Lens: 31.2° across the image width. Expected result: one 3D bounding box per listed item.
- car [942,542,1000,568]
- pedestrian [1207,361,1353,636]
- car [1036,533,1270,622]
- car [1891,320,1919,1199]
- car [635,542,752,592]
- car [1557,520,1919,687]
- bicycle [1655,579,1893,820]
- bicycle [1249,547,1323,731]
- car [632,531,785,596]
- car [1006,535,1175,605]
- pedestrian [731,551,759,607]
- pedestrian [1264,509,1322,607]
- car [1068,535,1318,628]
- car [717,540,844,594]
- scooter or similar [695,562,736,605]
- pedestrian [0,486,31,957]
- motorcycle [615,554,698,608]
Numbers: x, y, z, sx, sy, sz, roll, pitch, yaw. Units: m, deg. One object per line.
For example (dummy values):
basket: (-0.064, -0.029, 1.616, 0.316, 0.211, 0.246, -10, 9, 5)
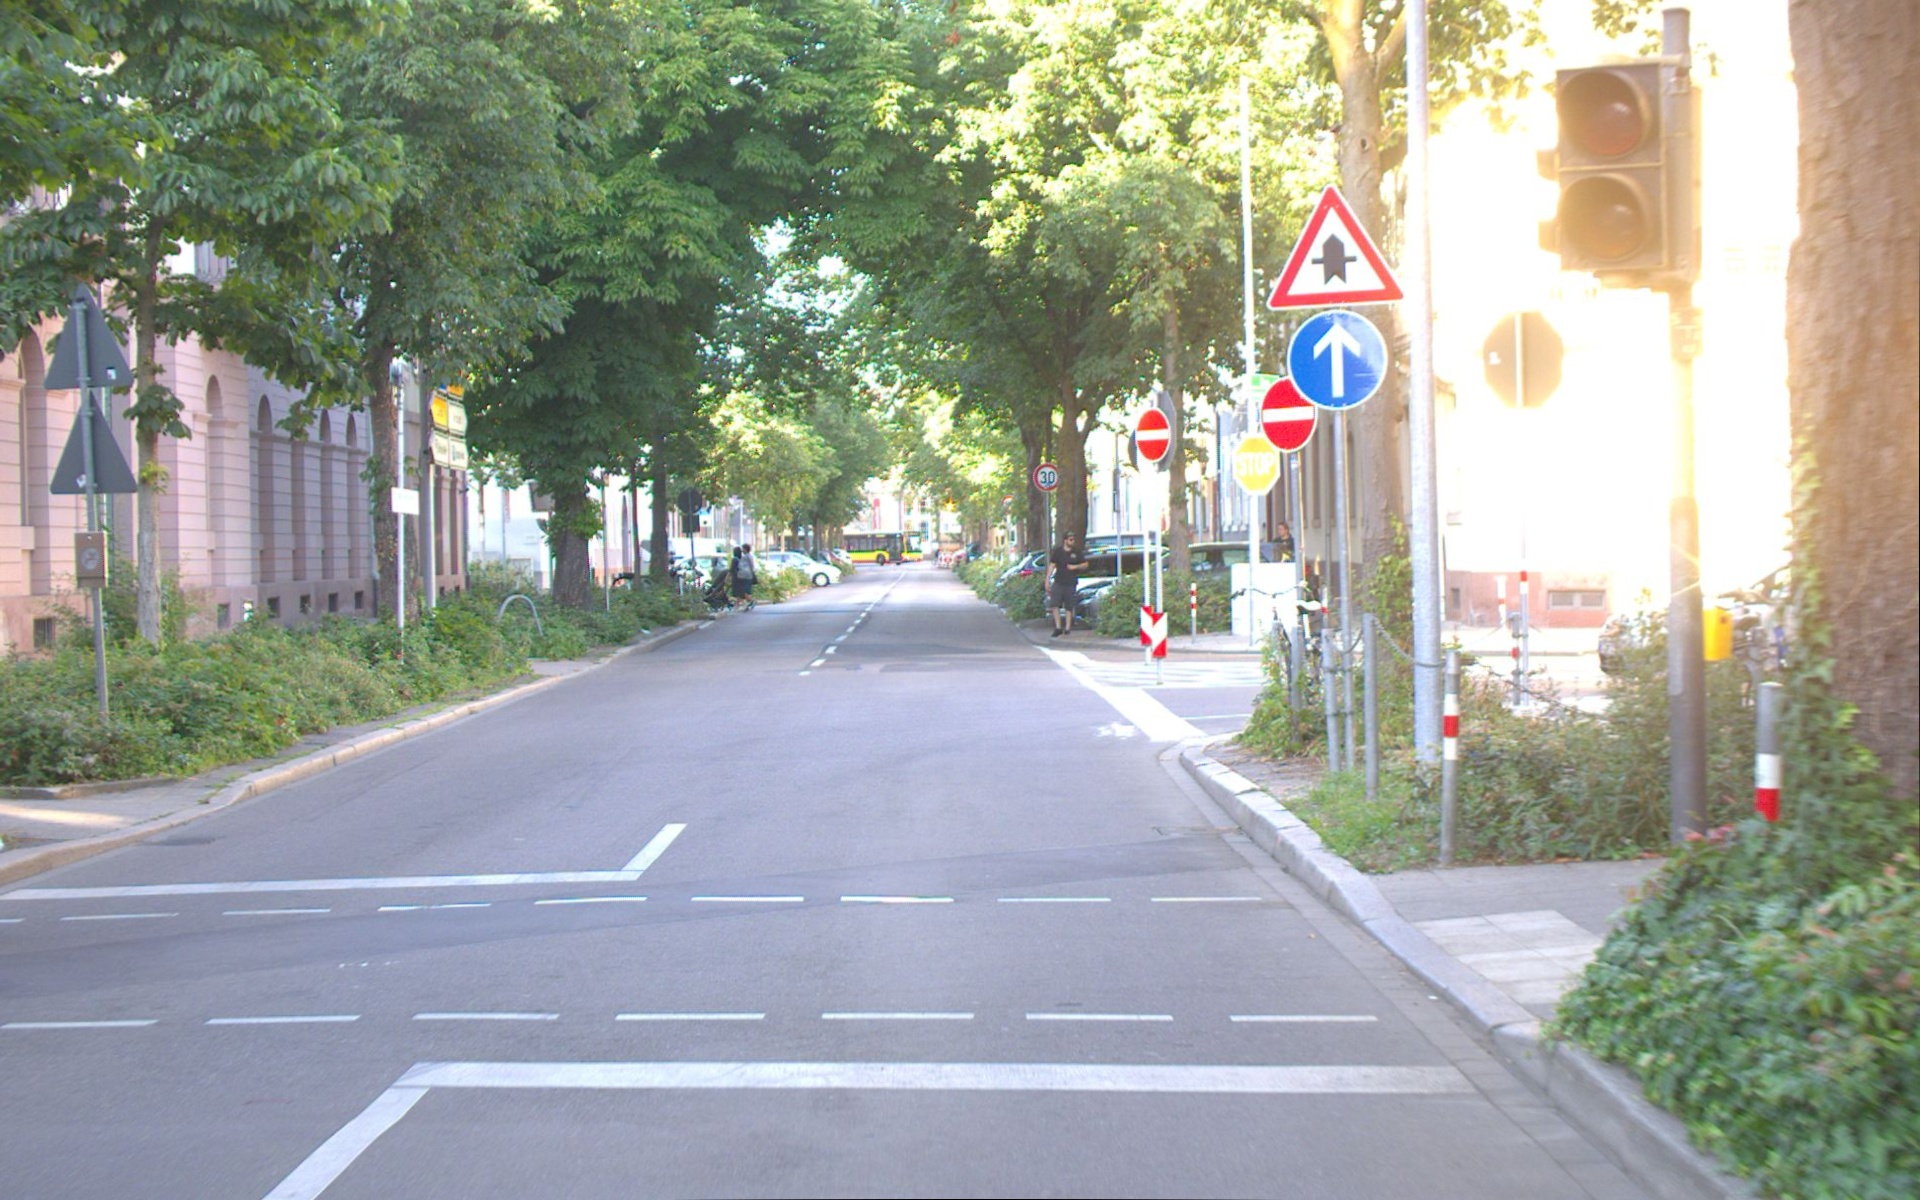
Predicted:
car: (0.802, -3.261, 250.156, 3.988, 1.831, 2.000, -1, 1, 7)
pedestrian: (2.526, -0.791, 27.258, 1.043, 2.139, 1.063, 0, 0, 0)
car: (3.560, -0.430, 63.918, 4.192, 1.475, 1.852, -2, 1, 0)
car: (4.017, 0.408, 5.336, 4.540, 1.908, 1.950, -2, 1, -2)
car: (-8.705, -1.086, 112.432, 3.725, 1.503, 1.873, -1, 1, -4)
car: (8.569, 0.013, 35.671, 4.337, 1.648, 1.886, -1, 1, -4)
bicycle: (4.192, 0.476, 17.861, 0.523, 1.148, 2.249, -1, 1, -5)
bicycle: (2.520, 0.286, 26.497, 0.417, 1.367, 1.288, -1, 1, 11)
car: (-8.586, -1.254, 117.825, 5.064, 2.076, 2.263, -1, 1, -1)
car: (3.206, -0.756, 84.936, 4.014, 1.617, 1.781, -1, 1, -1)
pedestrian: (-5.395, -0.518, 86.210, 0.655, 1.390, 0.607, 0, 0, -1)
pedestrian: (5.900, -0.753, 60.927, 0.943, 1.700, 0.782, -1, 2, 1)
car: (3.950, -0.330, 58.829, 4.107, 1.485, 1.850, -1, 2, -1)
car: (-7.466, -1.382, 143.278, 5.064, 2.076, 2.263, -1, 1, 1)
scooter or similar: (-6.181, -0.426, 86.955, 0.896, 1.085, 0.845, 0, 1, 5)
pedestrian: (-4.240, 0.487, 14.064, 0.768, 1.882, 0.793, -1, 1, -12)
motorcycle: (-7.287, -0.448, 82.639, 1.919, 1.254, 0.591, -1, 1, 0)
